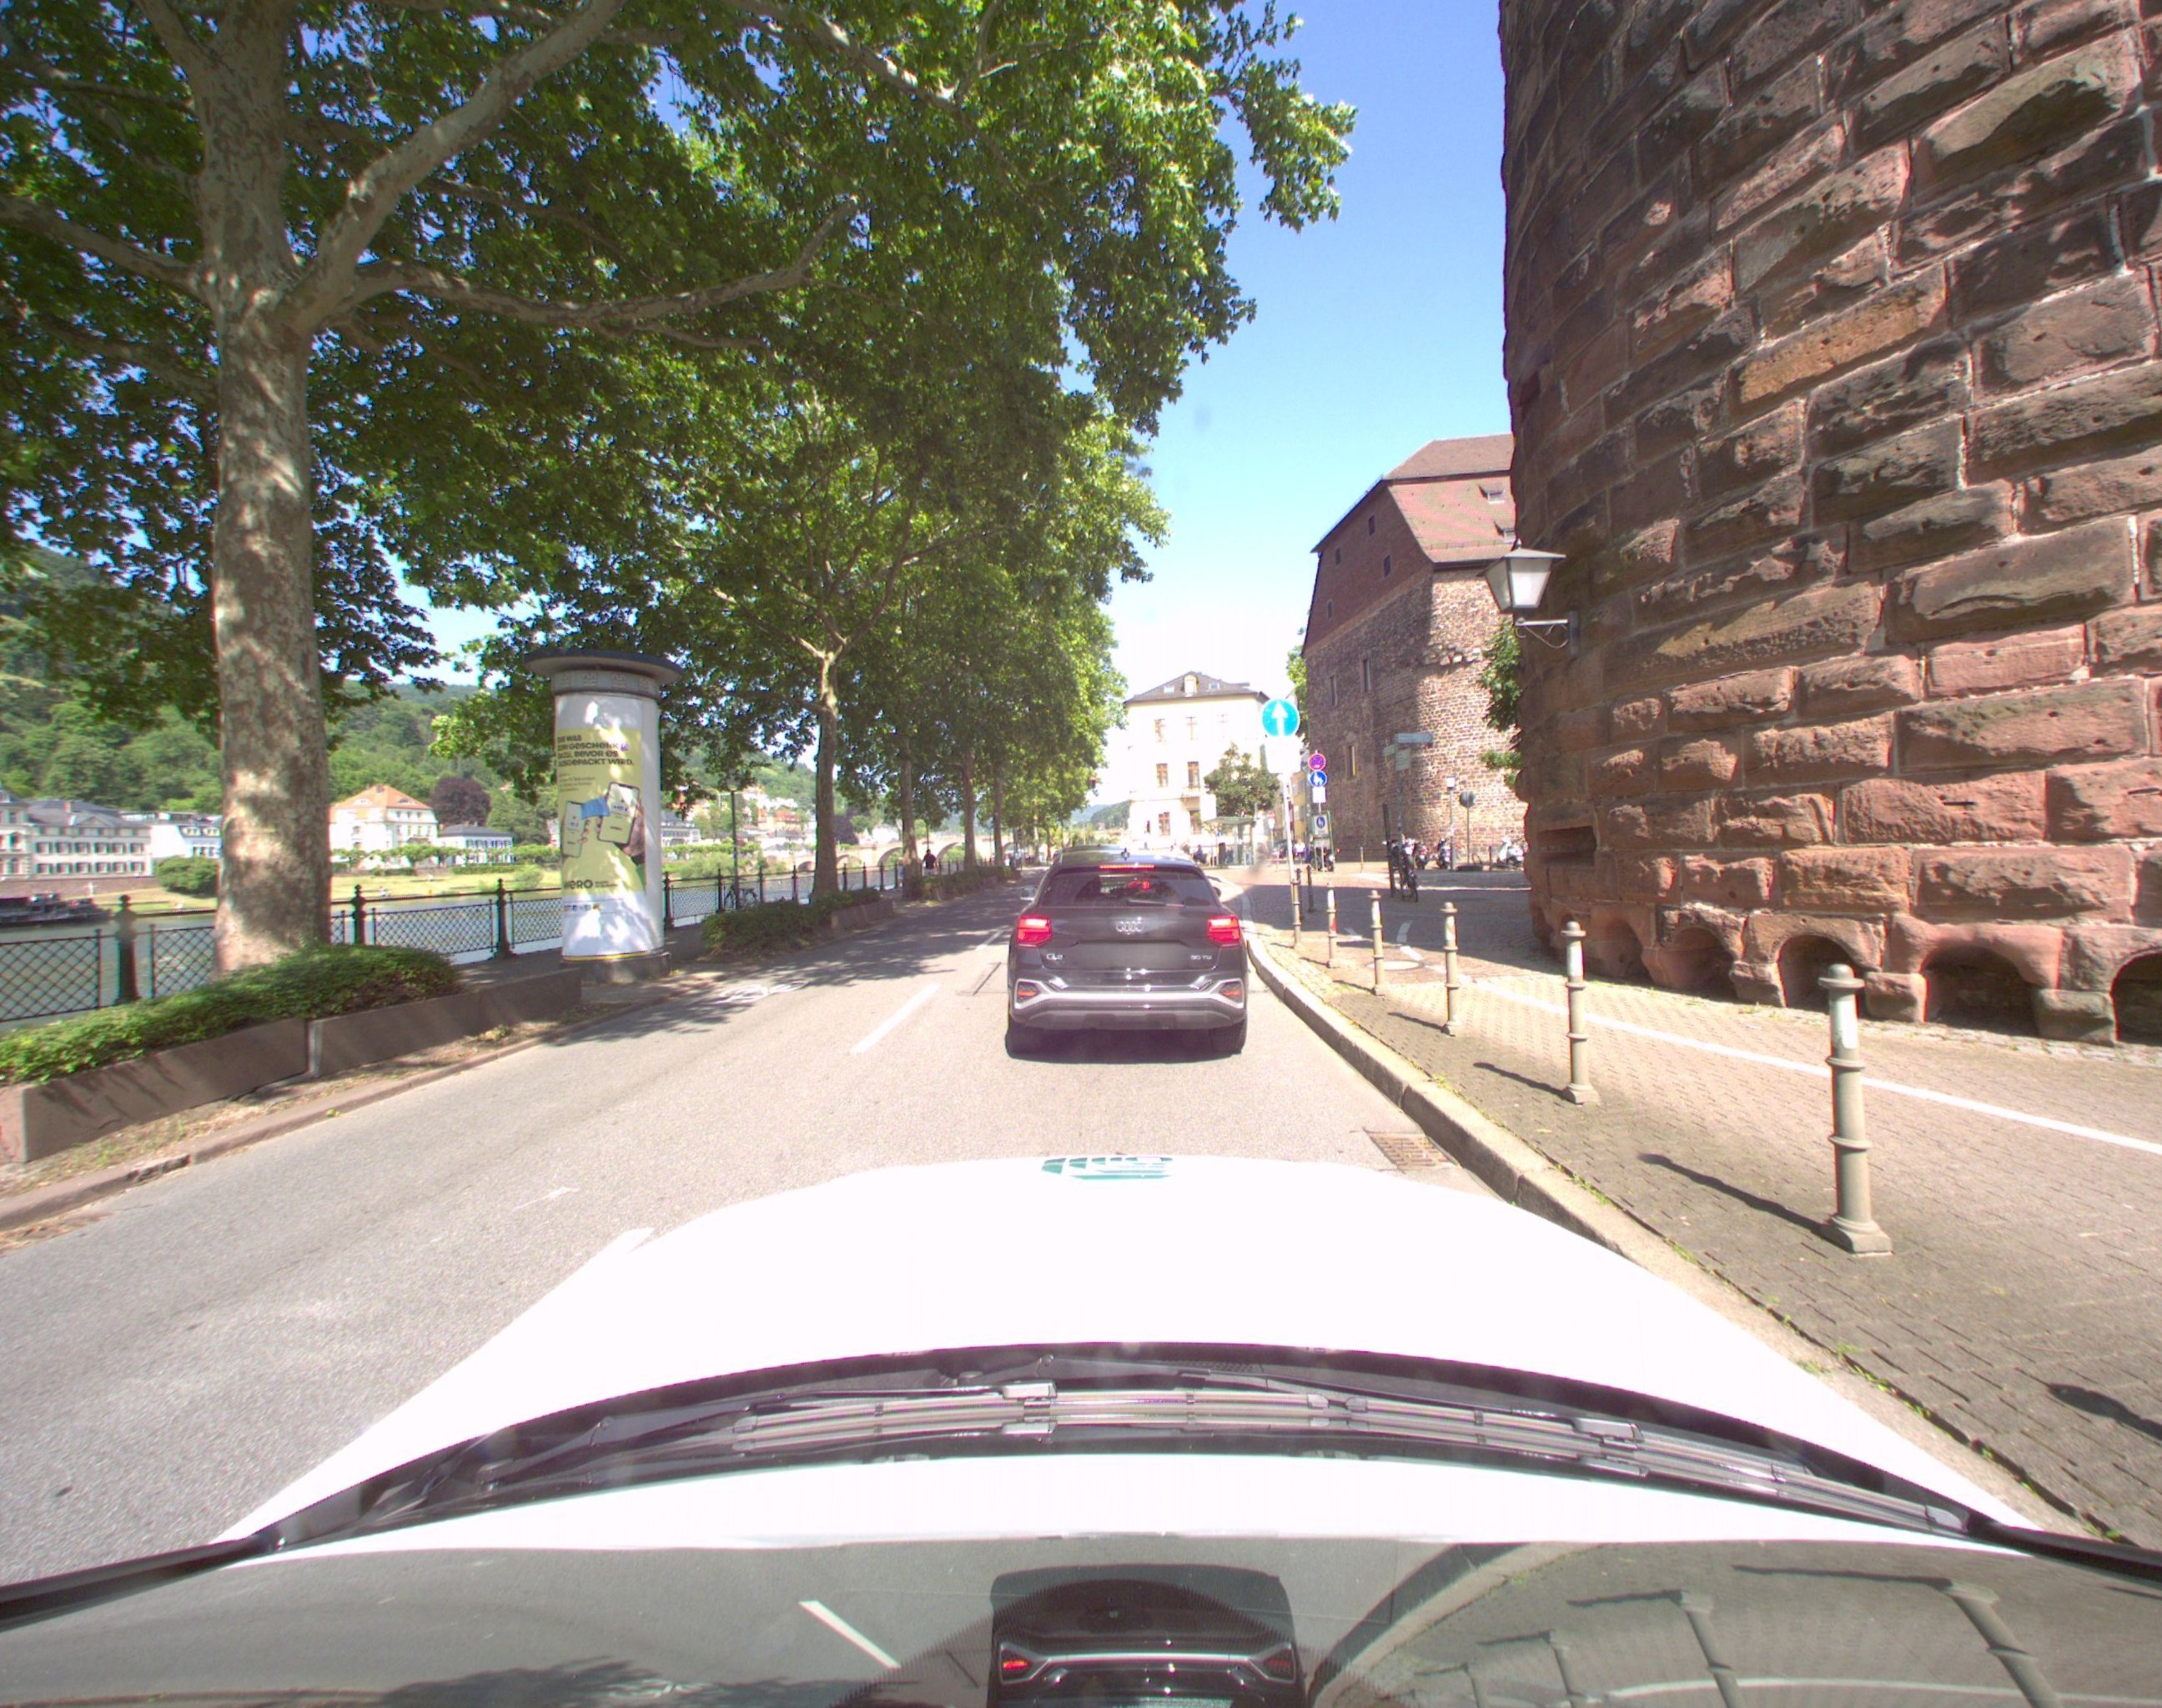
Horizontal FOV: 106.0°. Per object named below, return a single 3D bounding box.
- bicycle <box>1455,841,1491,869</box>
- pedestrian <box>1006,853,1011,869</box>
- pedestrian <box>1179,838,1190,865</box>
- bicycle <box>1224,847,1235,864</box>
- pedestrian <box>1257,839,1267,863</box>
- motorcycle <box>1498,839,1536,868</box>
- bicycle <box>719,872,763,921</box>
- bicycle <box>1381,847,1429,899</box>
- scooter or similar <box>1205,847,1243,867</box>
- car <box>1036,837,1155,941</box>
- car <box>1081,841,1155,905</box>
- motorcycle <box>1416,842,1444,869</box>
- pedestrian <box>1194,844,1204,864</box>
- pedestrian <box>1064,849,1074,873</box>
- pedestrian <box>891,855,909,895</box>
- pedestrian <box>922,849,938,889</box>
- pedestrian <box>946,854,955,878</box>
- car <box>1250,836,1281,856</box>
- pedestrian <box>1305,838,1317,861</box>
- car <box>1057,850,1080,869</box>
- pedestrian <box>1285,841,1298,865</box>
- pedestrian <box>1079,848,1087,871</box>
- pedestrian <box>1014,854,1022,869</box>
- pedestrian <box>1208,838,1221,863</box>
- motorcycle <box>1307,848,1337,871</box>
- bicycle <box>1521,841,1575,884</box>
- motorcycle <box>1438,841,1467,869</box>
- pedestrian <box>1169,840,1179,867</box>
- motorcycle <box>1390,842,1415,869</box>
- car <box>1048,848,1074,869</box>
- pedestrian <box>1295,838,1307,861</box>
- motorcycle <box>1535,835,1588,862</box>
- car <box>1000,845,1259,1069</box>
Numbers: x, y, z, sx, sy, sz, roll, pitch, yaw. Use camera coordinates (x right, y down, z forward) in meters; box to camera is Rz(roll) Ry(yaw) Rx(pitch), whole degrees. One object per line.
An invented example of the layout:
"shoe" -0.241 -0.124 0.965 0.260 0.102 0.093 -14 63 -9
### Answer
"bicycle" 14.367 0.027 29.861 0.402 0.989 1.825 0 0 -1
"pedestrian" -6.453 0.649 72.193 0.407 1.425 0.457 0 0 0
"pedestrian" 6.277 -0.128 49.441 0.555 1.633 0.660 -1 0 3
"bicycle" 8.783 0.108 48.286 0.449 0.974 1.400 0 0 2
"pedestrian" 12.612 -0.221 56.638 0.544 1.634 0.660 0 0 -1
"motorcycle" 15.764 -0.020 29.471 0.496 1.019 1.702 0 0 2
"bicycle" -8.908 1.080 21.386 0.356 1.162 1.825 -3 0 -1
"bicycle" 6.858 0.390 17.313 0.493 1.030 2.056 -2 0 10
"scooter or similar" 7.069 0.163 40.267 1.838 0.963 0.429 0 0 1
"car" 0.291 0.523 14.147 1.794 1.562 3.718 0 0 2
"car" 1.026 0.482 22.813 1.794 1.523 3.718 -3 0 2
"motorcycle" 12.831 0.039 29.984 0.456 0.973 1.467 0 0 2
"pedestrian" 7.066 0.019 48.762 0.544 1.201 0.523 0 0 3
"pedestrian" -0.826 0.487 56.803 0.542 1.600 0.662 0 0 13
"pedestrian" -7.824 0.908 35.195 0.643 1.717 0.665 0 0 -1
"pedestrian" -6.678 0.651 35.952 0.562 1.741 0.665 -1 0 -1
"pedestrian" -8.376 0.776 52.150 0.496 1.537 0.678 0 0 -5
"car" 16.536 -0.683 73.197 1.986 1.716 4.002 -2 0 2
"pedestrian" 15.072 -0.290 53.328 0.655 1.517 0.627 0 0 3
"car" -1.037 0.464 70.705 1.608 1.523 3.480 -3 0 4
"pedestrian" 12.833 -0.068 49.573 0.655 1.493 0.548 0 0 3
"pedestrian" 0.149 0.359 56.645 0.555 1.557 0.660 -1 0 3
"pedestrian" -5.385 0.641 69.728 0.588 1.278 0.525 0 0 2
"pedestrian" 8.175 -0.207 49.942 0.744 1.557 0.589 -1 0 2
"motorcycle" 9.066 0.192 30.724 0.482 0.818 2.281 -3 0 2
"bicycle" 11.651 0.202 20.393 0.493 1.030 2.056 0 0 10
"motorcycle" 13.619 0.035 29.903 0.456 0.973 1.467 0 0 2
"pedestrian" 5.419 -0.048 47.424 0.555 1.557 0.660 -1 0 3
"motorcycle" 11.972 0.043 30.335 0.434 0.973 1.359 0 0 2
"car" -1.533 0.321 63.214 1.608 1.523 3.480 -3 0 4
"pedestrian" 14.366 -0.287 53.272 0.655 1.517 0.548 0 0 3
"motorcycle" 18.613 -0.200 31.573 1.683 1.019 0.502 0 0 14
"car" 0.353 0.687 7.327 1.742 1.494 3.629 -1 0 1
